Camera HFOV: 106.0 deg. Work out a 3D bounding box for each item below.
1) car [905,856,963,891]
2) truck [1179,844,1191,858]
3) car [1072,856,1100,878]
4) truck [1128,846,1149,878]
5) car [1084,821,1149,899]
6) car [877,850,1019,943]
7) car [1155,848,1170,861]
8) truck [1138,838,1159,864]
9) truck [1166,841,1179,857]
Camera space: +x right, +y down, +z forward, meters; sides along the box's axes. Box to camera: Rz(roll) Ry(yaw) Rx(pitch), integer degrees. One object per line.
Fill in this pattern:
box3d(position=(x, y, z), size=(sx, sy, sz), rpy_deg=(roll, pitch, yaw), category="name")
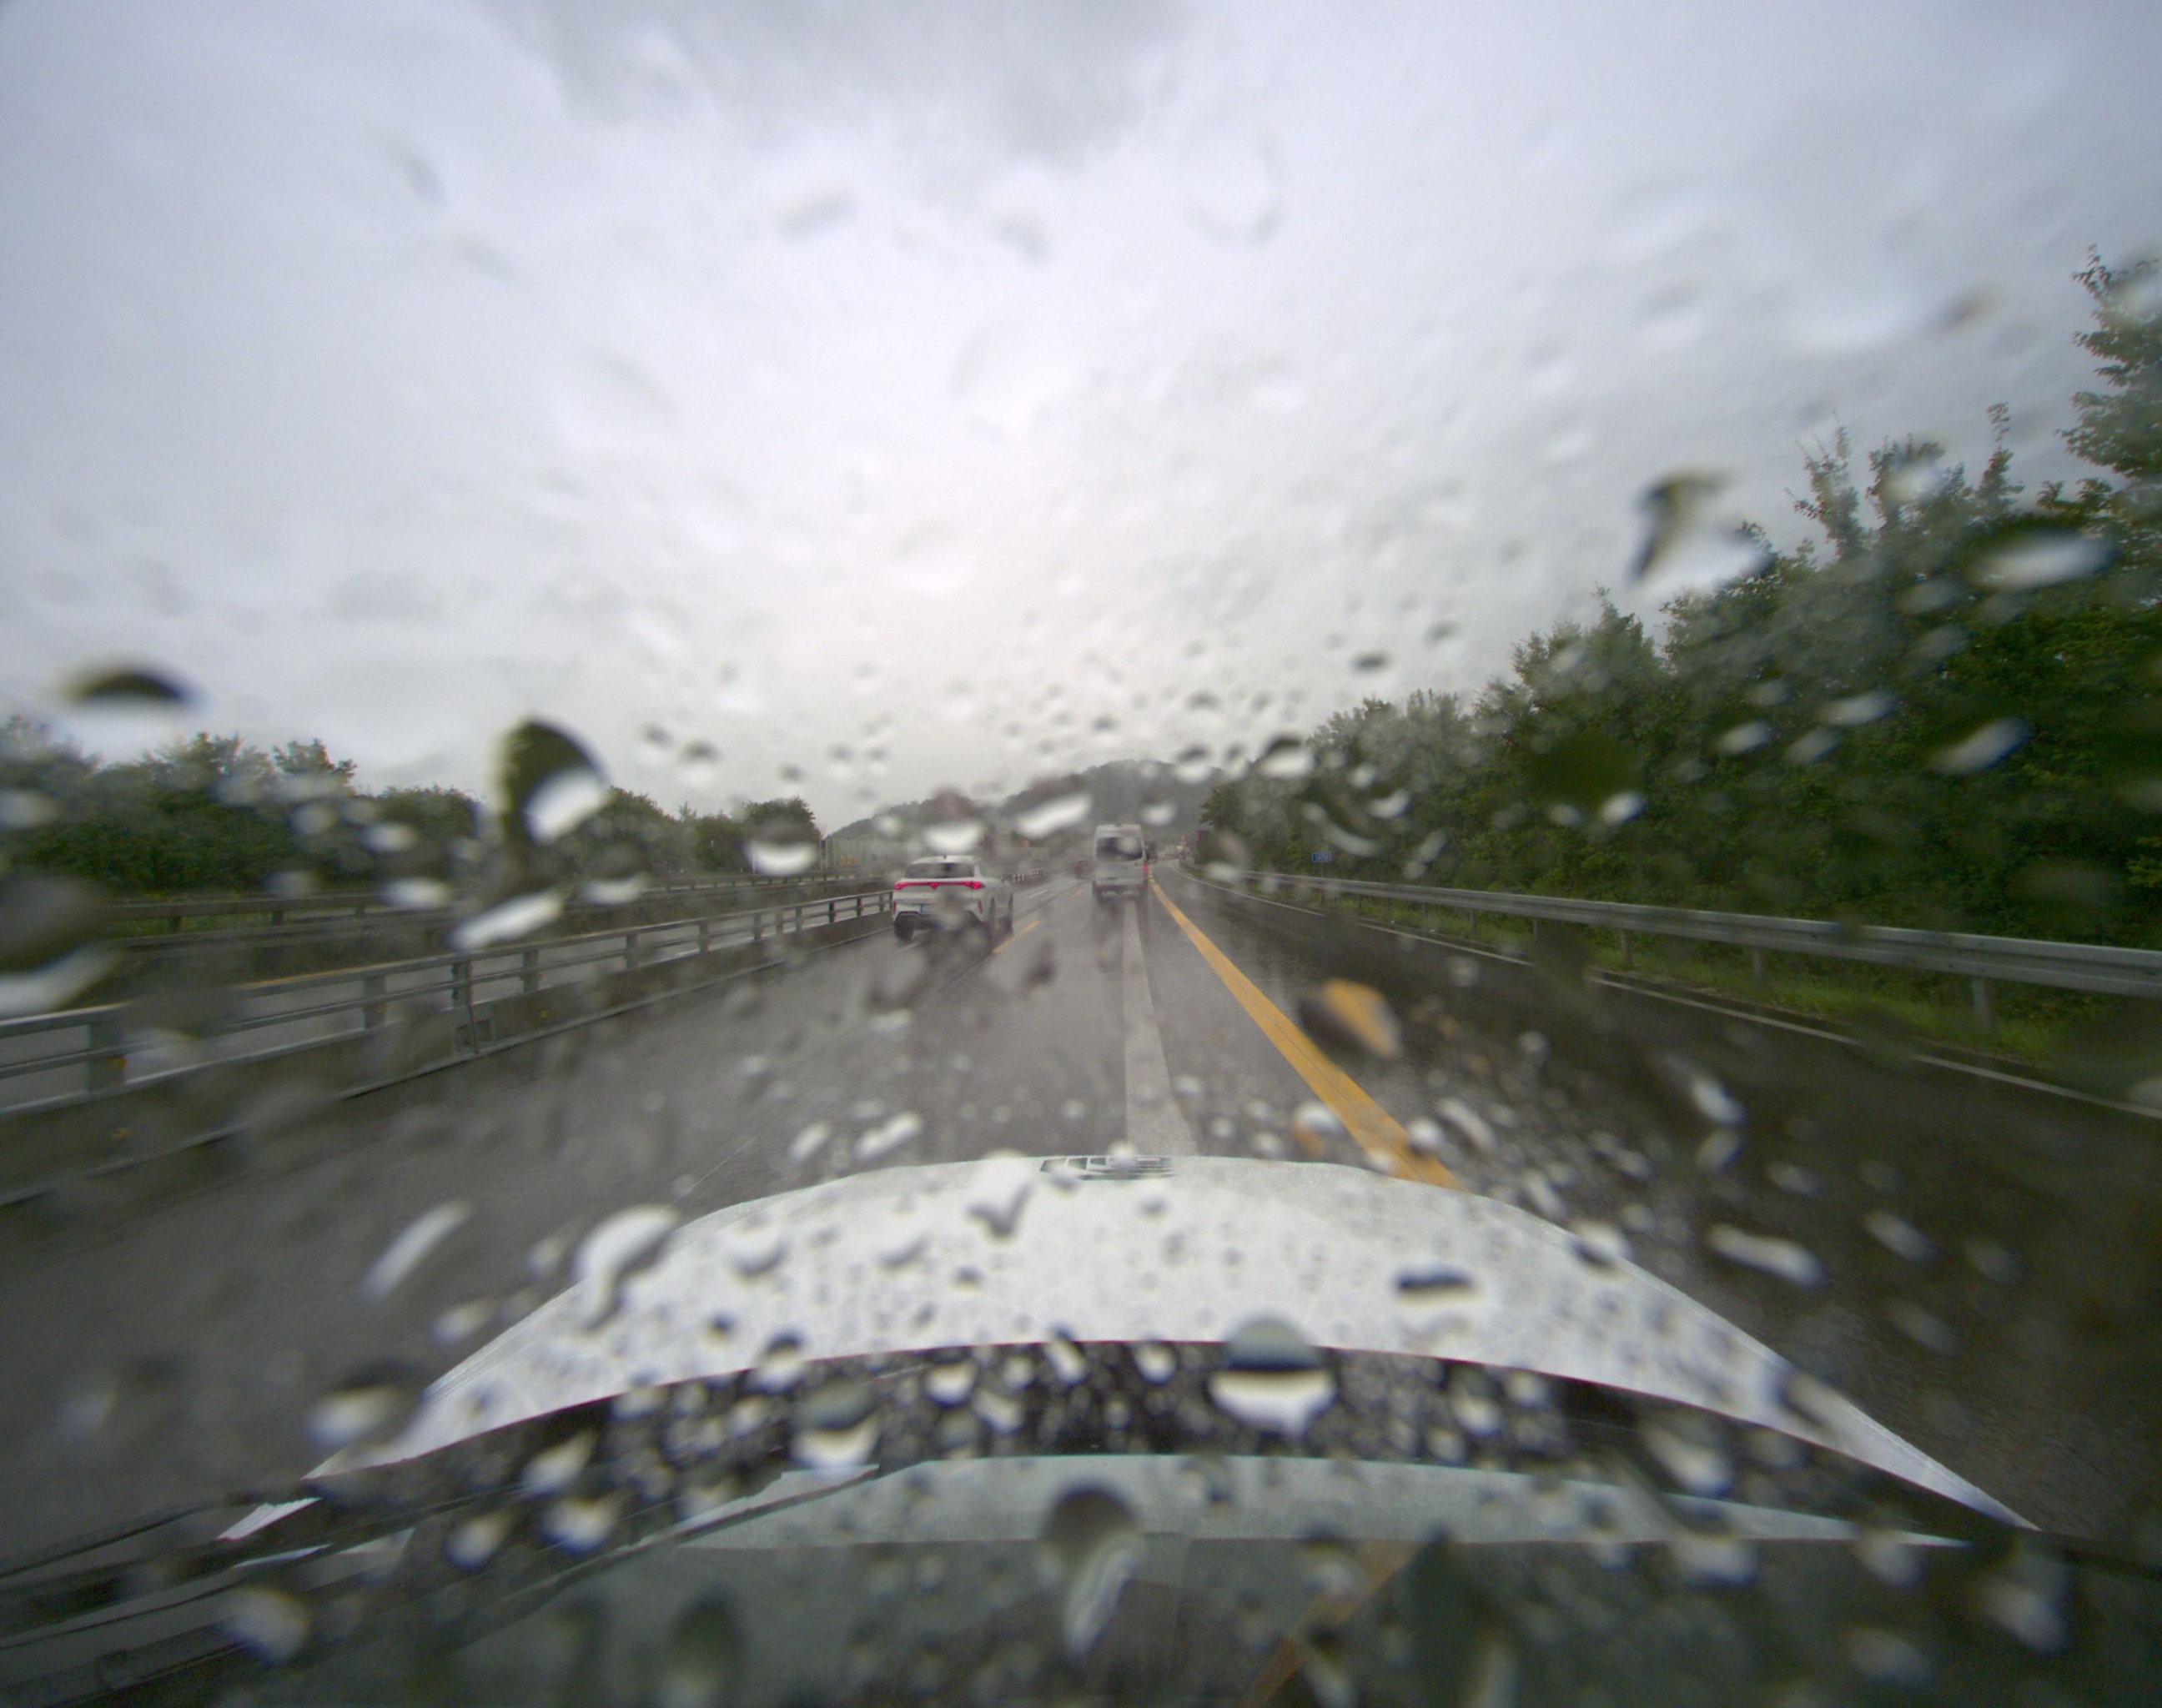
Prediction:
box3d(position=(-7.048, 0.895, 39.423), size=(1.771, 1.604, 4.320), rpy_deg=(-1, 0, 4), category="car")
box3d(position=(33.227, -0.838, 260.352), size=(2.878, 4.406, 9.657), rpy_deg=(-1, -1, 13), category="truck")
box3d(position=(0.350, 0.981, 60.423), size=(1.941, 1.561, 3.997), rpy_deg=(0, 0, -1), category="car")
box3d(position=(6.102, 0.839, 86.159), size=(1.984, 3.109, 8.511), rpy_deg=(-1, 0, 5), category="truck")
box3d(position=(1.339, 0.221, 29.981), size=(2.136, 2.571, 5.394), rpy_deg=(-1, -1, 3), category="car")
box3d(position=(-2.517, 0.757, 16.690), size=(1.986, 1.617, 4.798), rpy_deg=(0, 0, 2), category="car")
box3d(position=(19.216, 0.133, 192.056), size=(2.880, 2.887, 6.430), rpy_deg=(-1, -1, 11), category="car")
box3d(position=(12.032, -0.526, 145.138), size=(3.564, 4.406, 9.638), rpy_deg=(-1, -1, 5), category="truck")
box3d(position=(25.597, -1.284, 228.433), size=(3.018, 4.406, 9.649), rpy_deg=(-1, -1, 10), category="truck")
